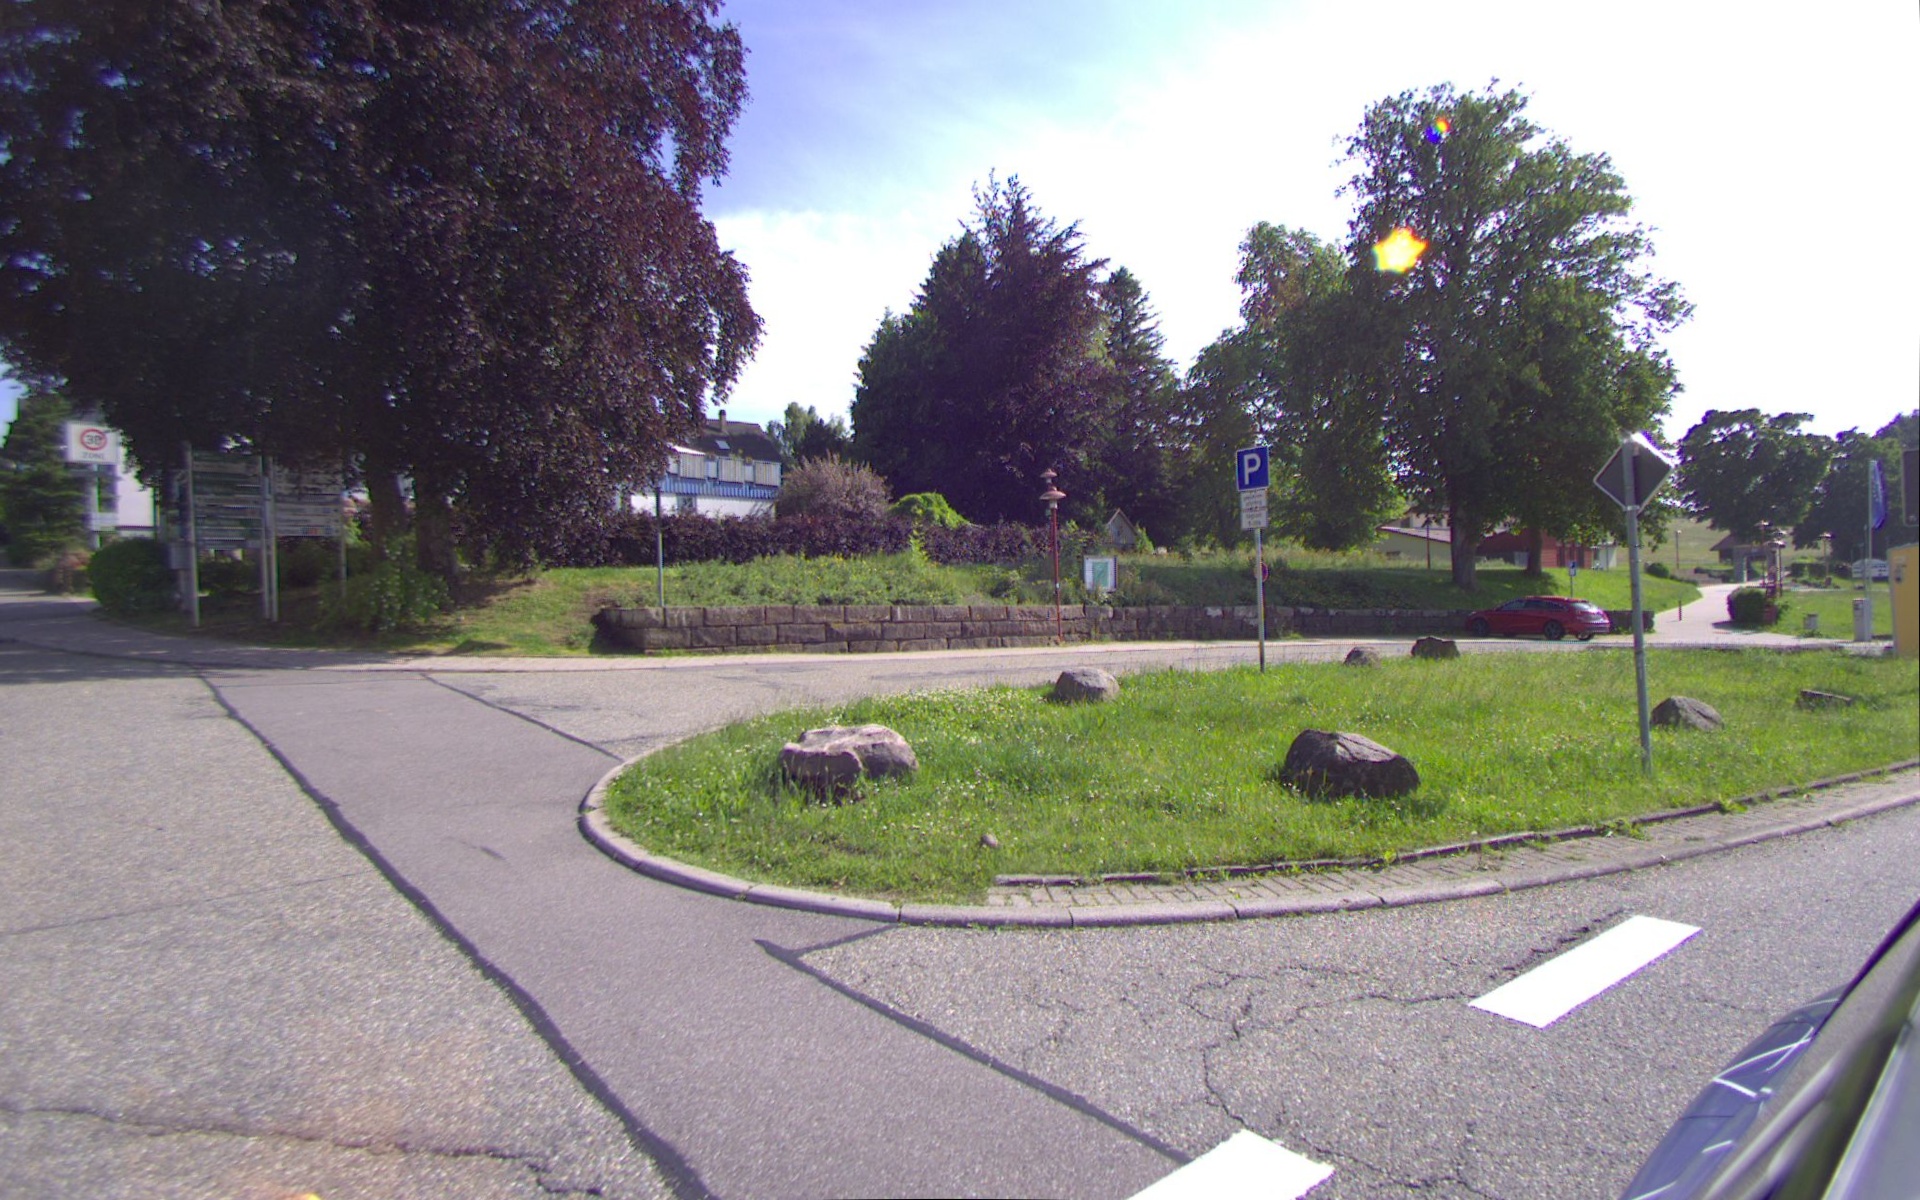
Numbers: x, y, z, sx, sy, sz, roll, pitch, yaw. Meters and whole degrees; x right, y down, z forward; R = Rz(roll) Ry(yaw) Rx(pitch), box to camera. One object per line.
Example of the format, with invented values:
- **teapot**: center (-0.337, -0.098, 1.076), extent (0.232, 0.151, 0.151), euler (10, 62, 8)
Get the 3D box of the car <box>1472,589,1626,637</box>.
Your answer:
- **car**: center (19.517, 0.377, 33.757), extent (1.667, 1.446, 4.275), euler (0, 1, -24)
